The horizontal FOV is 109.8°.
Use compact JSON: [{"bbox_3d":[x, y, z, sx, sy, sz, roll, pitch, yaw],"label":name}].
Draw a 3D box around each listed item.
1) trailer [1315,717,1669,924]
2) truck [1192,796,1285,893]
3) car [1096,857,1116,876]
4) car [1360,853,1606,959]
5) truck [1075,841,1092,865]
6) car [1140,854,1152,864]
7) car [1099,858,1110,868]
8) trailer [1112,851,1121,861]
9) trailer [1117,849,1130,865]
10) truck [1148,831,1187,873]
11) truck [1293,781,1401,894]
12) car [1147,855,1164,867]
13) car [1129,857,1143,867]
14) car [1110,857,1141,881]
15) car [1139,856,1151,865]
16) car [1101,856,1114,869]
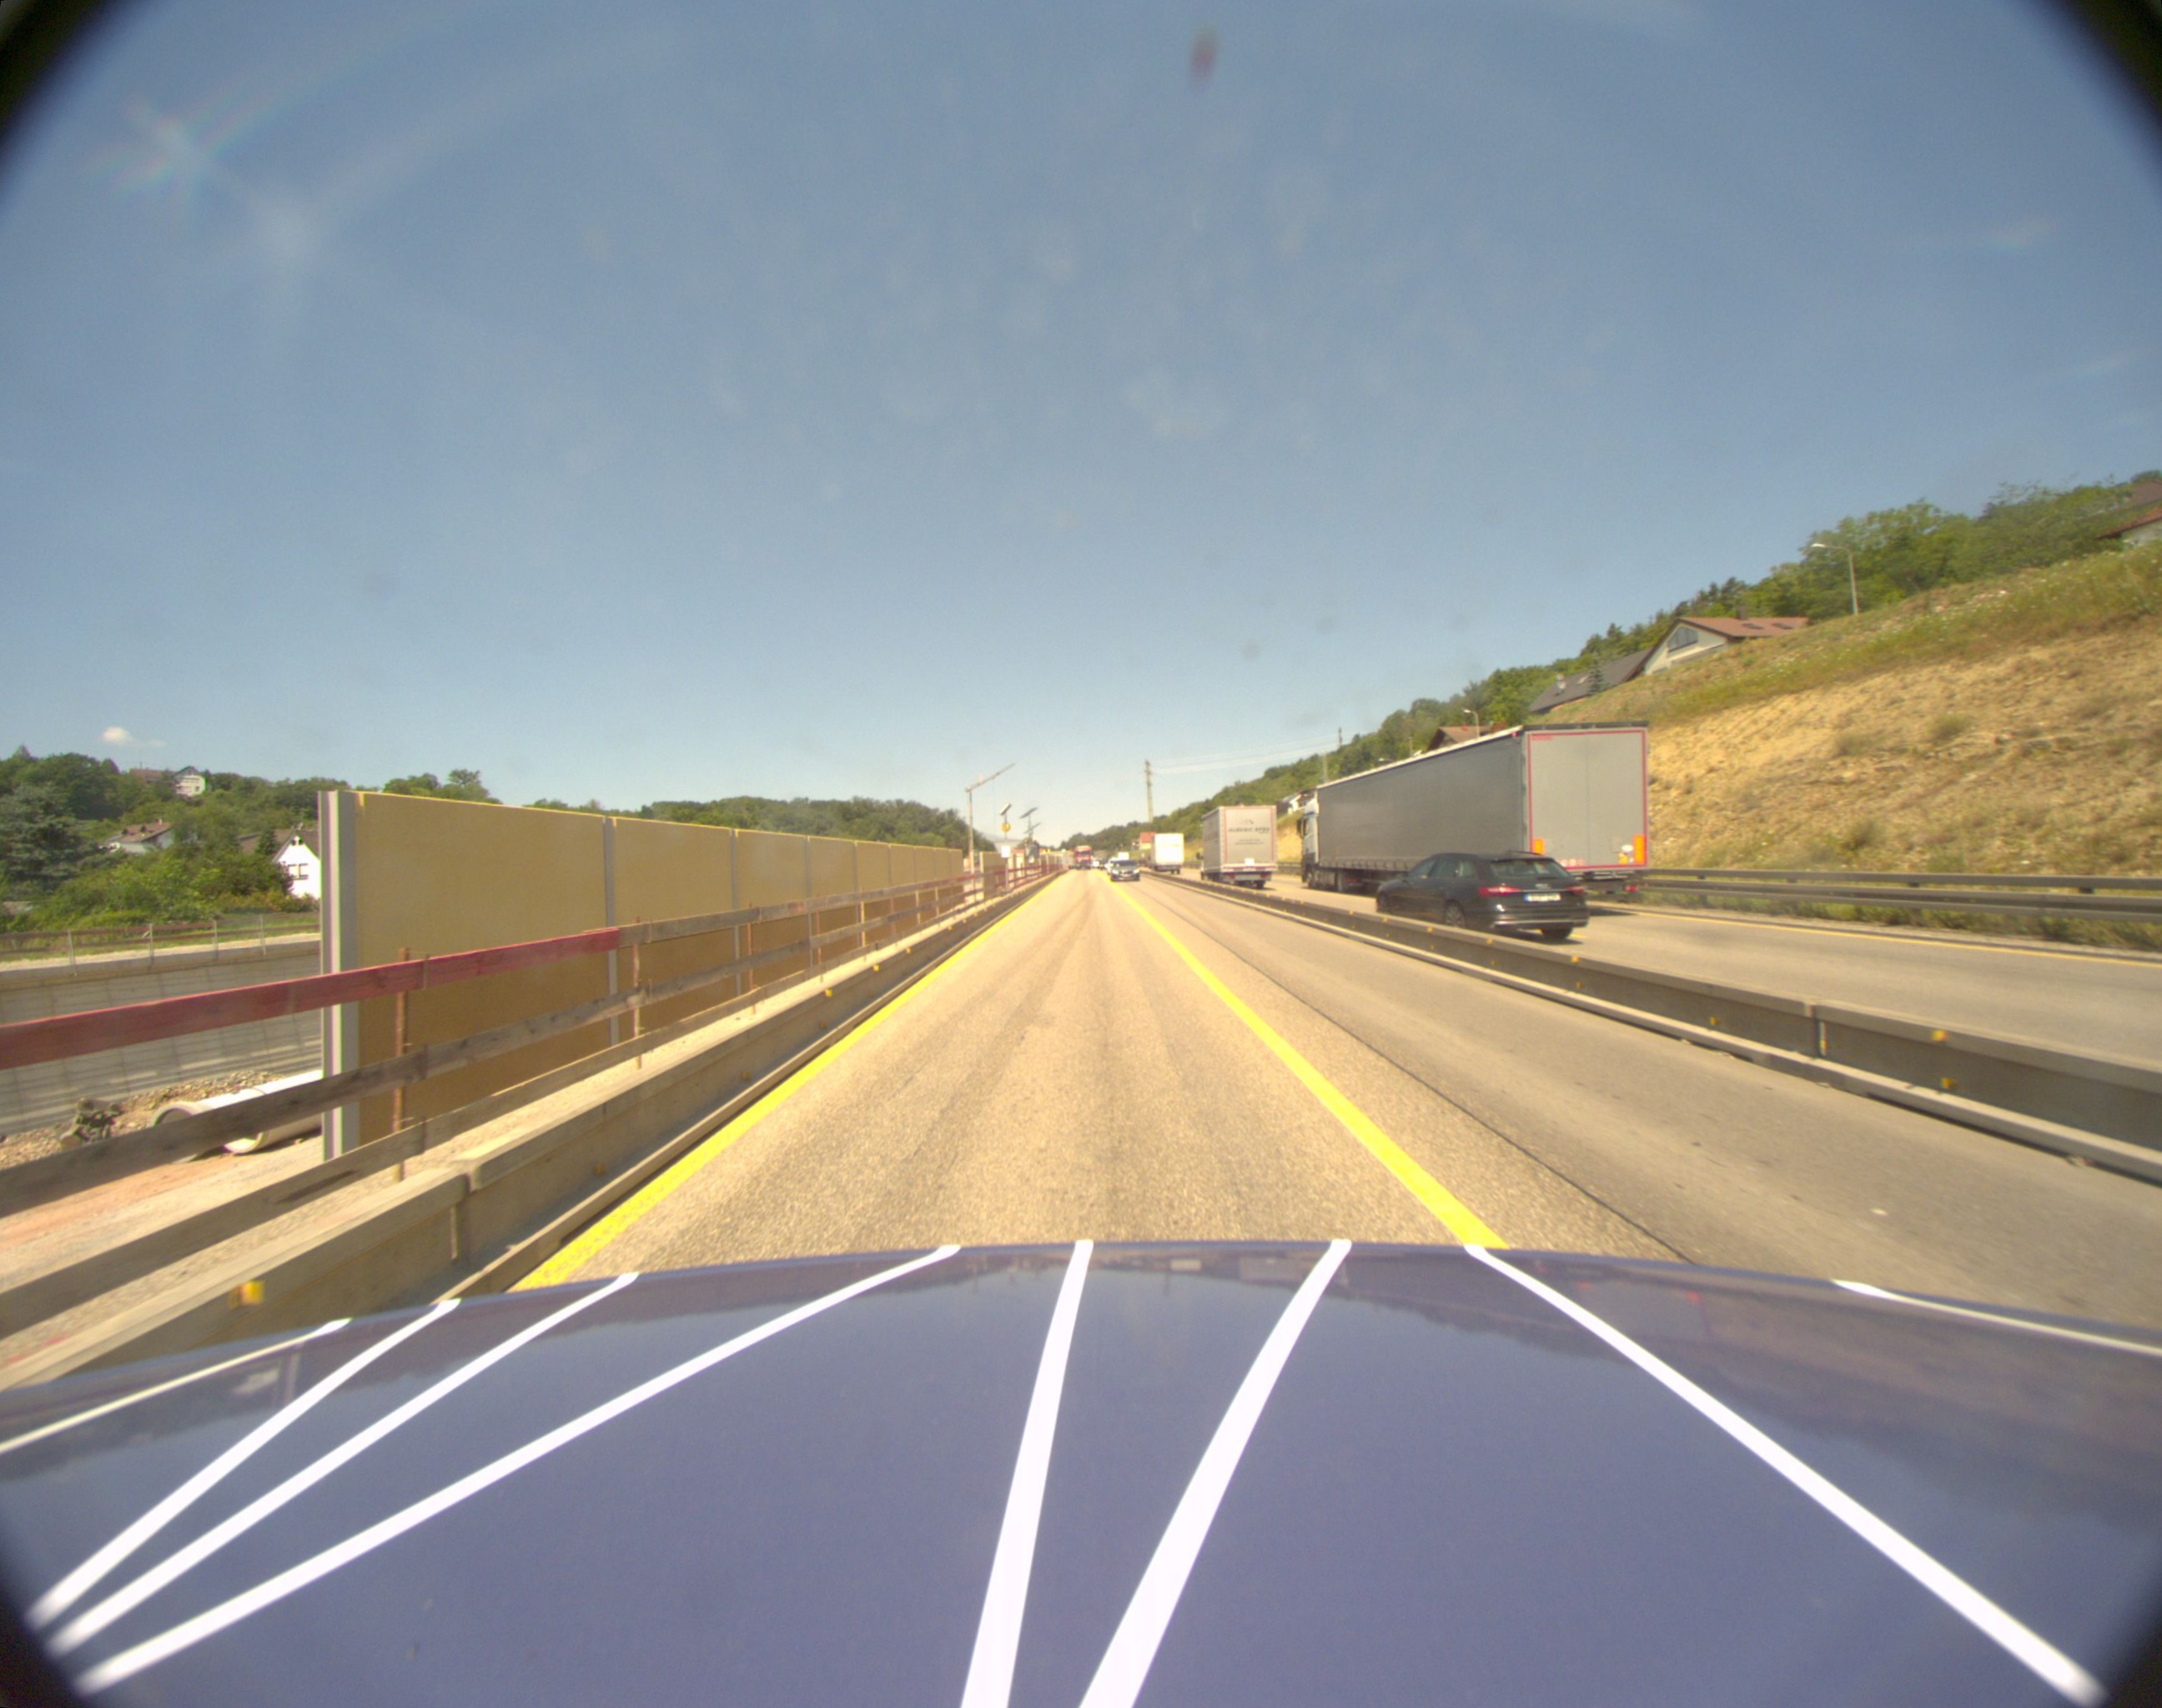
[{"bbox_3d":[10.277,-0.643,21.940,2.705,4.001,13.702,-2,0,0],"label":"trailer"},{"bbox_3d":[6.788,-0.372,33.809,2.596,3.736,7.359,-2,0,1],"label":"truck"},{"bbox_3d":[2.341,1.182,71.078,1.780,1.682,4.337,-2,-1,1],"label":"car"},{"bbox_3d":[6.723,0.756,13.426,1.784,1.449,4.720,-3,0,0],"label":"car"},{"bbox_3d":[0.564,-0.092,130.152,2.605,3.703,10.538,-2,-1,1],"label":"truck"},{"bbox_3d":[11.371,0.898,133.881,1.689,1.576,5.126,-2,0,0],"label":"car"},{"bbox_3d":[3.839,1.484,124.994,1.780,1.485,4.337,-2,-1,1],"label":"car"},{"bbox_3d":[12.185,0.726,260.556,2.619,2.983,6.371,-2,-1,1],"label":"trailer"},{"bbox_3d":[11.725,0.928,212.289,2.793,4.157,13.979,-2,0,0],"label":"trailer"},{"bbox_3d":[7.424,-0.171,65.923,2.544,3.354,7.038,-2,0,0],"label":"truck"},{"bbox_3d":[10.313,-0.582,29.811,2.705,4.026,3.955,-2,0,0],"label":"truck"},{"bbox_3d":[10.498,1.007,107.662,1.858,1.662,4.668,-2,0,0],"label":"car"},{"bbox_3d":[8.226,1.170,113.677,1.801,1.419,4.950,-2,0,0],"label":"car"},{"bbox_3d":[2.870,0.984,49.610,1.780,1.447,4.337,-2,-1,1],"label":"car"},{"bbox_3d":[11.297,1.213,133.529,1.780,1.485,4.337,-2,-1,1],"label":"car"},{"bbox_3d":[3.678,1.196,106.153,1.780,1.727,4.337,-2,-1,1],"label":"car"}]
